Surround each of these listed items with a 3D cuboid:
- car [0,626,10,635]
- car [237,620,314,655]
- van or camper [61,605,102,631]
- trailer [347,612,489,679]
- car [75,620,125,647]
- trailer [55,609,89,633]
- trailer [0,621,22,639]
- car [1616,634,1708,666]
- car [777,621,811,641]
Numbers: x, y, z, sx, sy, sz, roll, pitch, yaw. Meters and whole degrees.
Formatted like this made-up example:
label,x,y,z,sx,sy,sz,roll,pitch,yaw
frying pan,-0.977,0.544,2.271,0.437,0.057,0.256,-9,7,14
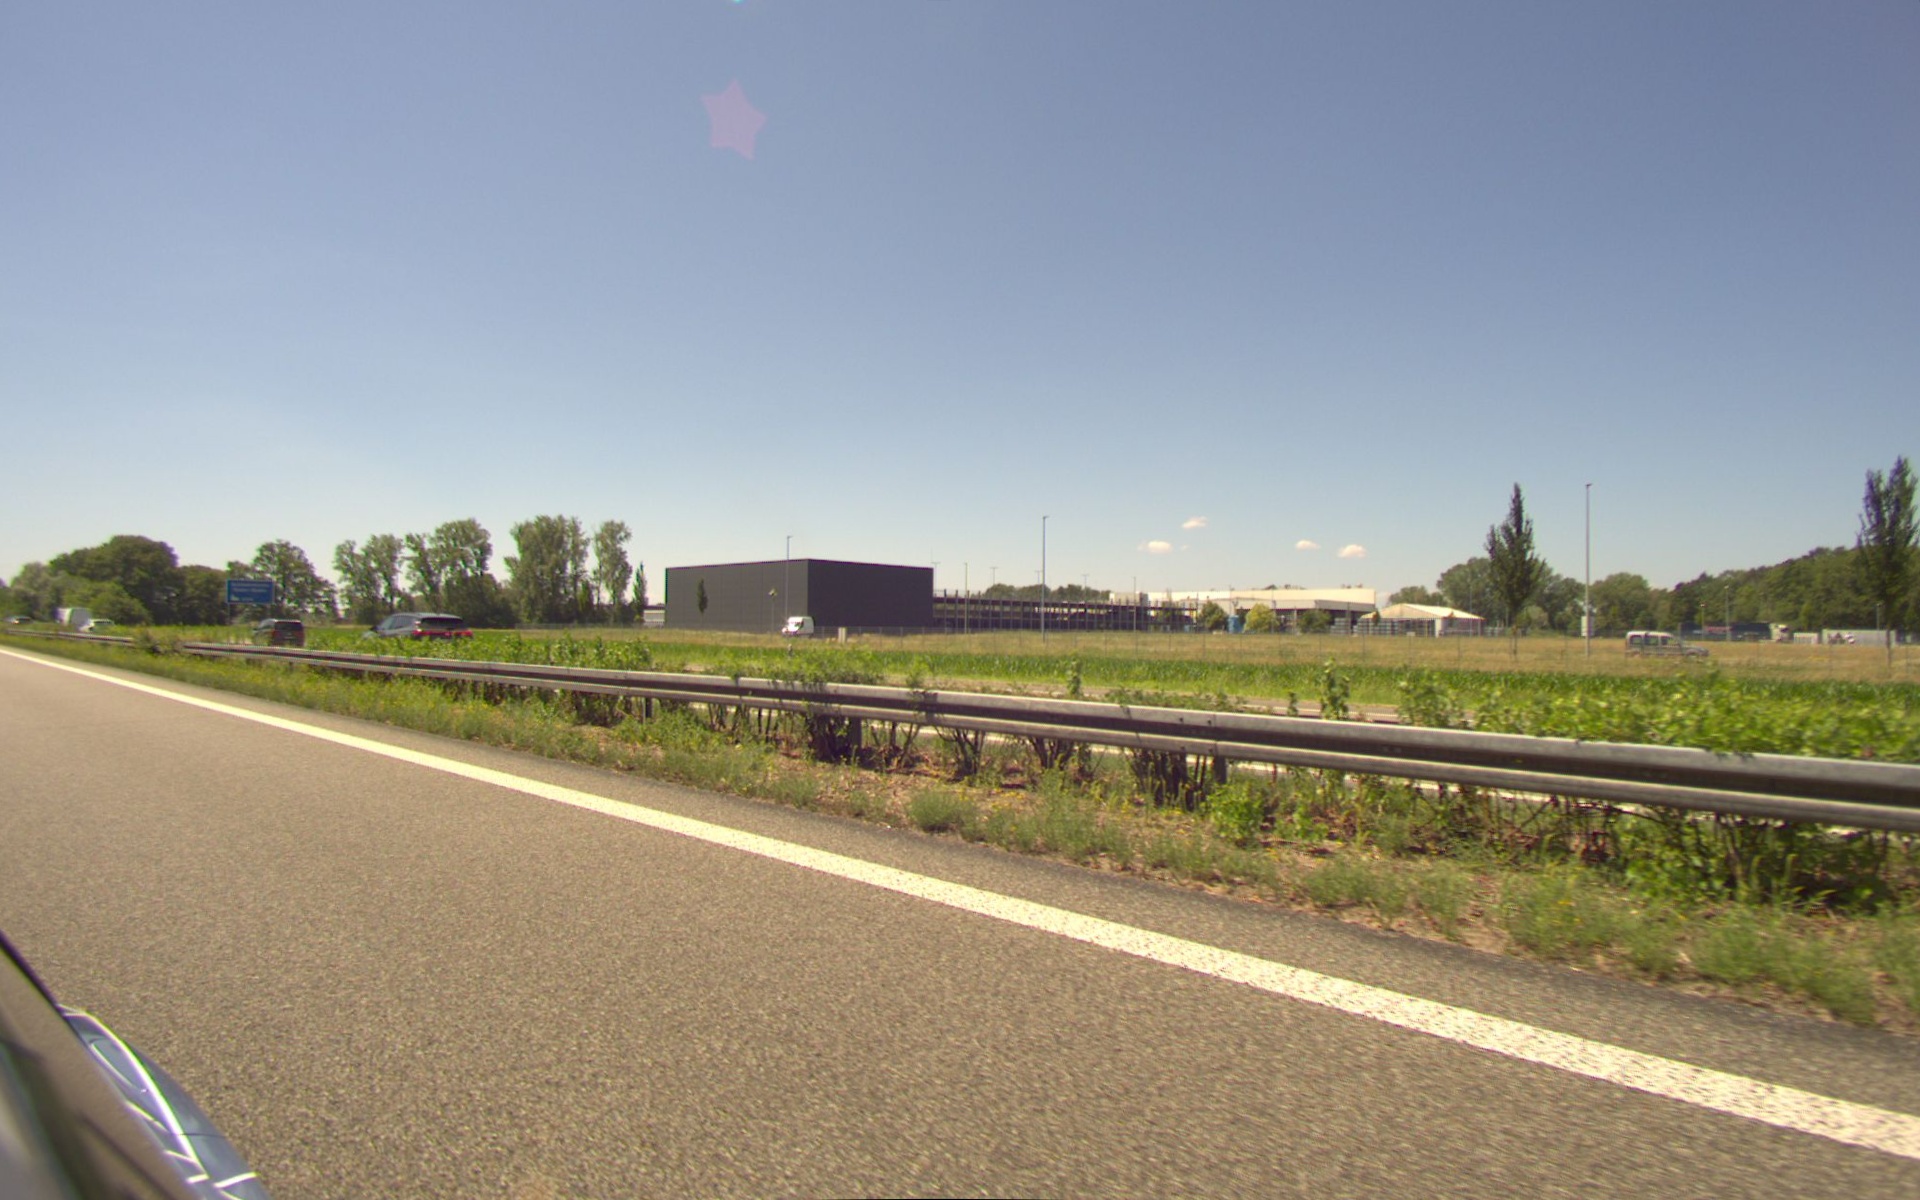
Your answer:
label,x,y,z,sx,sy,sz,roll,pitch,yaw
car,-177.958,5.585,187.747,5.663,1.652,1.972,-2,-4,43
car,-37.320,2.032,55.125,5.351,1.829,2.291,-1,-3,43
van or camper,-92.878,1.914,106.925,6.174,2.553,2.396,-1,-3,42
trailer,-15.901,1.295,29.552,5.235,1.803,1.924,-1,-3,41
car,-61.181,2.386,71.966,5.417,1.820,2.023,-1,-3,42
trailer,-124.328,2.870,141.602,9.258,3.262,2.646,-1,-2,43
trailer,-100.096,3.145,106.207,4.856,1.772,1.972,-1,-3,42
car,39.499,2.788,57.006,4.110,1.740,1.667,-1,-3,41
car,-18.924,3.553,115.815,2.086,2.194,5.591,0,-2,10
